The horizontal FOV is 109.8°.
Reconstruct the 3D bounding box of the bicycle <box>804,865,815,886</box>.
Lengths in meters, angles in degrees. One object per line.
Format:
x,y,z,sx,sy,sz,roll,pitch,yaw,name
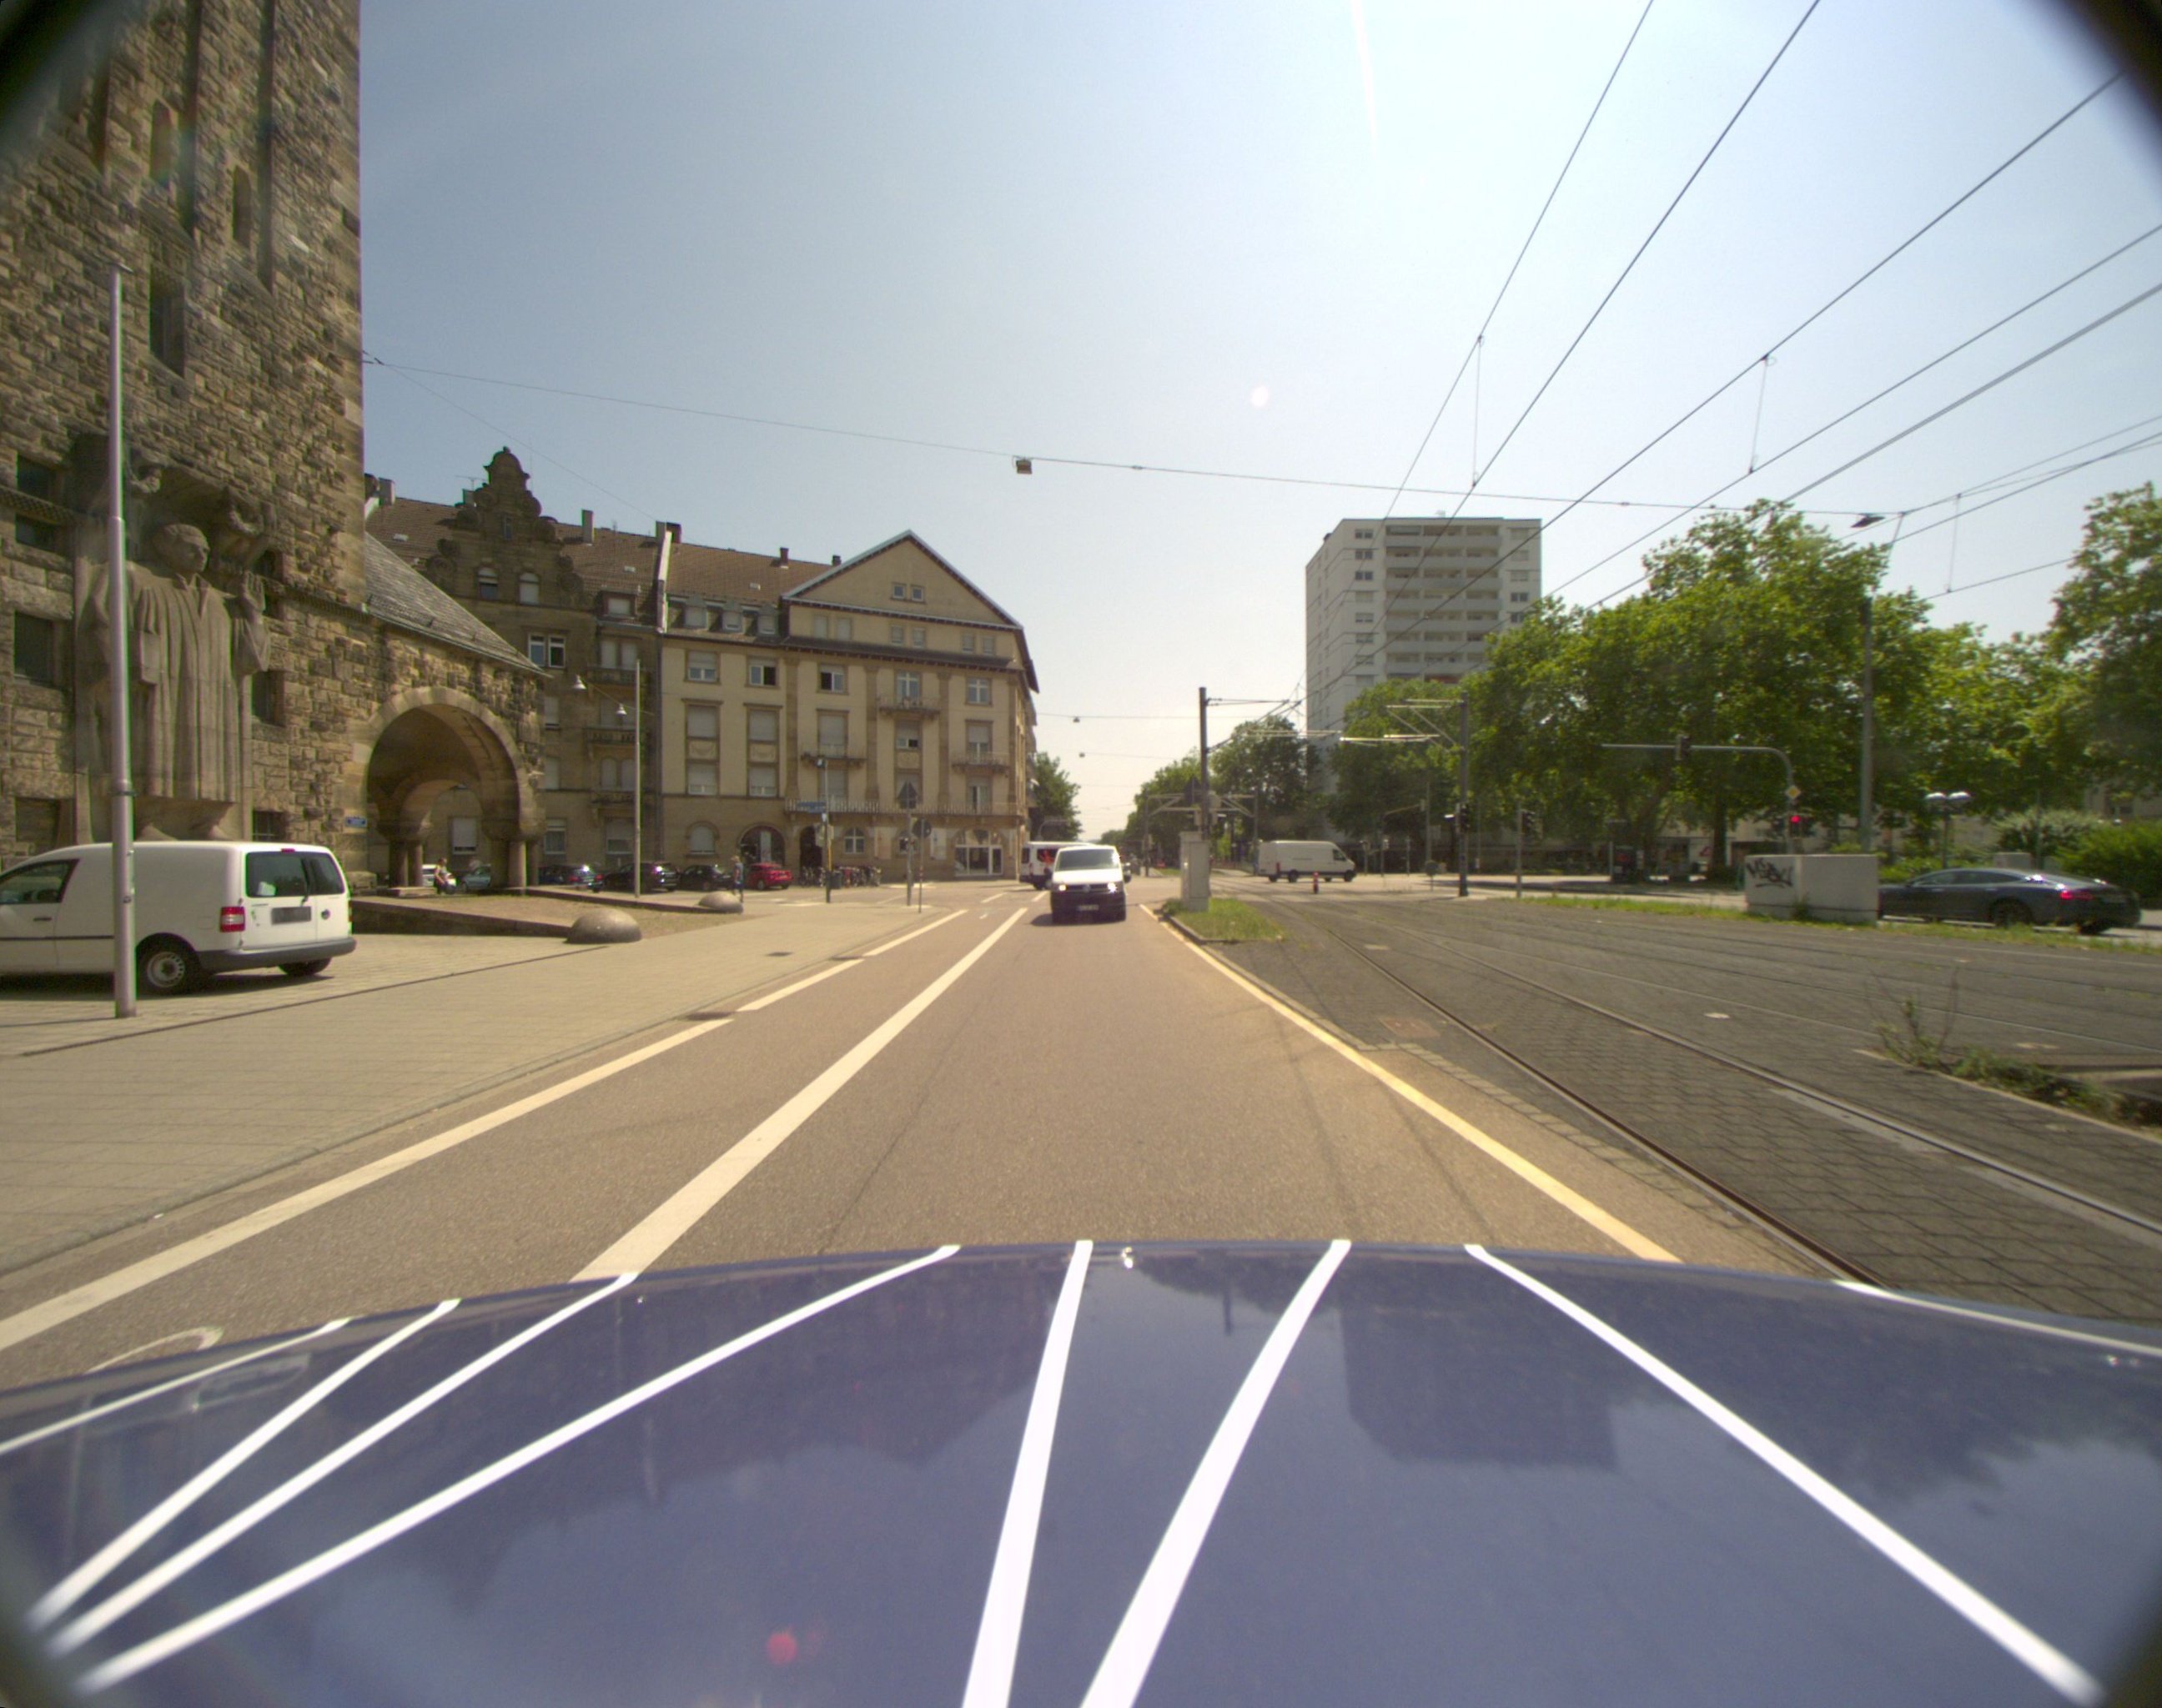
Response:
-16.304,1.280,45.607,0.566,1.145,1.802,-1,2,-19,bicycle

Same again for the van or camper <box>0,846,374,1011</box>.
-11.843,0.857,9.632,3.997,1.815,1.802,1,0,-1,van or camper

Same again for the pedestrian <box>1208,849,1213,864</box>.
14.804,0.300,87.041,0.510,1.701,0.554,-1,1,1,pedestrian

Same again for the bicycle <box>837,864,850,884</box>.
-14.855,1.257,47.537,0.565,1.145,1.803,-1,1,-11,bicycle

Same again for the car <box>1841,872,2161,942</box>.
21.193,1.142,17.877,1.952,1.351,4.628,0,0,-1,car

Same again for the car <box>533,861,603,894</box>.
-26.994,1.217,39.988,3.218,1.566,1.619,1,3,26,car

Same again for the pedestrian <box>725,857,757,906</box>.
-12.789,1.011,28.597,0.744,1.812,0.834,-1,1,7,pedestrian

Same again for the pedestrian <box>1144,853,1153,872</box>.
6.073,0.779,68.374,0.679,1.695,0.554,-1,1,2,pedestrian

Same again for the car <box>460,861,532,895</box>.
-30.086,1.215,39.100,3.218,1.566,1.619,1,3,26,car

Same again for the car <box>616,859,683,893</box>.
-23.565,1.155,41.514,3.218,1.656,1.619,1,3,26,car

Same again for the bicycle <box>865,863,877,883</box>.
-13.314,1.188,48.263,0.565,1.145,1.803,-1,1,-11,bicycle

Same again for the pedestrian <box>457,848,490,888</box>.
-32.738,0.744,40.938,1.100,2.101,0.867,0,0,7,pedestrian

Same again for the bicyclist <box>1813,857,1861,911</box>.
23.863,0.939,23.991,0.640,1.676,0.868,-1,1,-3,bicyclist

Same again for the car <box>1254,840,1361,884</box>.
14.283,0.479,47.801,6.641,2.622,2.073,0,0,-24,car

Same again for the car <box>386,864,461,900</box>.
-32.366,1.337,37.384,3.218,1.566,1.619,1,3,27,car

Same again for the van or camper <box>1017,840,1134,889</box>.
-0.279,0.552,40.520,5.909,2.447,2.069,0,0,-23,van or camper

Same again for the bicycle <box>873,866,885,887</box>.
-12.439,1.367,46.883,0.565,1.145,2.058,-1,1,-11,bicycle

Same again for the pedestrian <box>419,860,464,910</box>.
-20.568,0.984,24.455,0.791,1.550,0.720,-1,1,-7,pedestrian

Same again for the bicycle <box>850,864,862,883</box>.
-14.140,1.207,47.795,0.565,1.145,1.803,-1,1,-11,bicycle

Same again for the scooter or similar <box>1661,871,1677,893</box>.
31.225,1.494,40.345,0.257,1.114,0.978,-1,0,12,scooter or similar

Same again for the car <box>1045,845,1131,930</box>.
0.309,0.765,19.958,1.851,1.942,4.945,0,0,5,car

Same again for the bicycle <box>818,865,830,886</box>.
-15.402,1.291,45.526,0.566,1.145,1.801,-1,2,-22,bicycle

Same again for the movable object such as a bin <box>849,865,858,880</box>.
-15.113,1.206,50.467,0.591,0.989,0.582,-1,0,-16,movable object such as a bin

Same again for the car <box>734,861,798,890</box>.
-18.187,1.234,43.874,3.218,1.471,1.619,1,3,26,car

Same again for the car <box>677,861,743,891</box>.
-20.907,1.211,42.808,3.218,1.471,1.619,1,3,26,car
